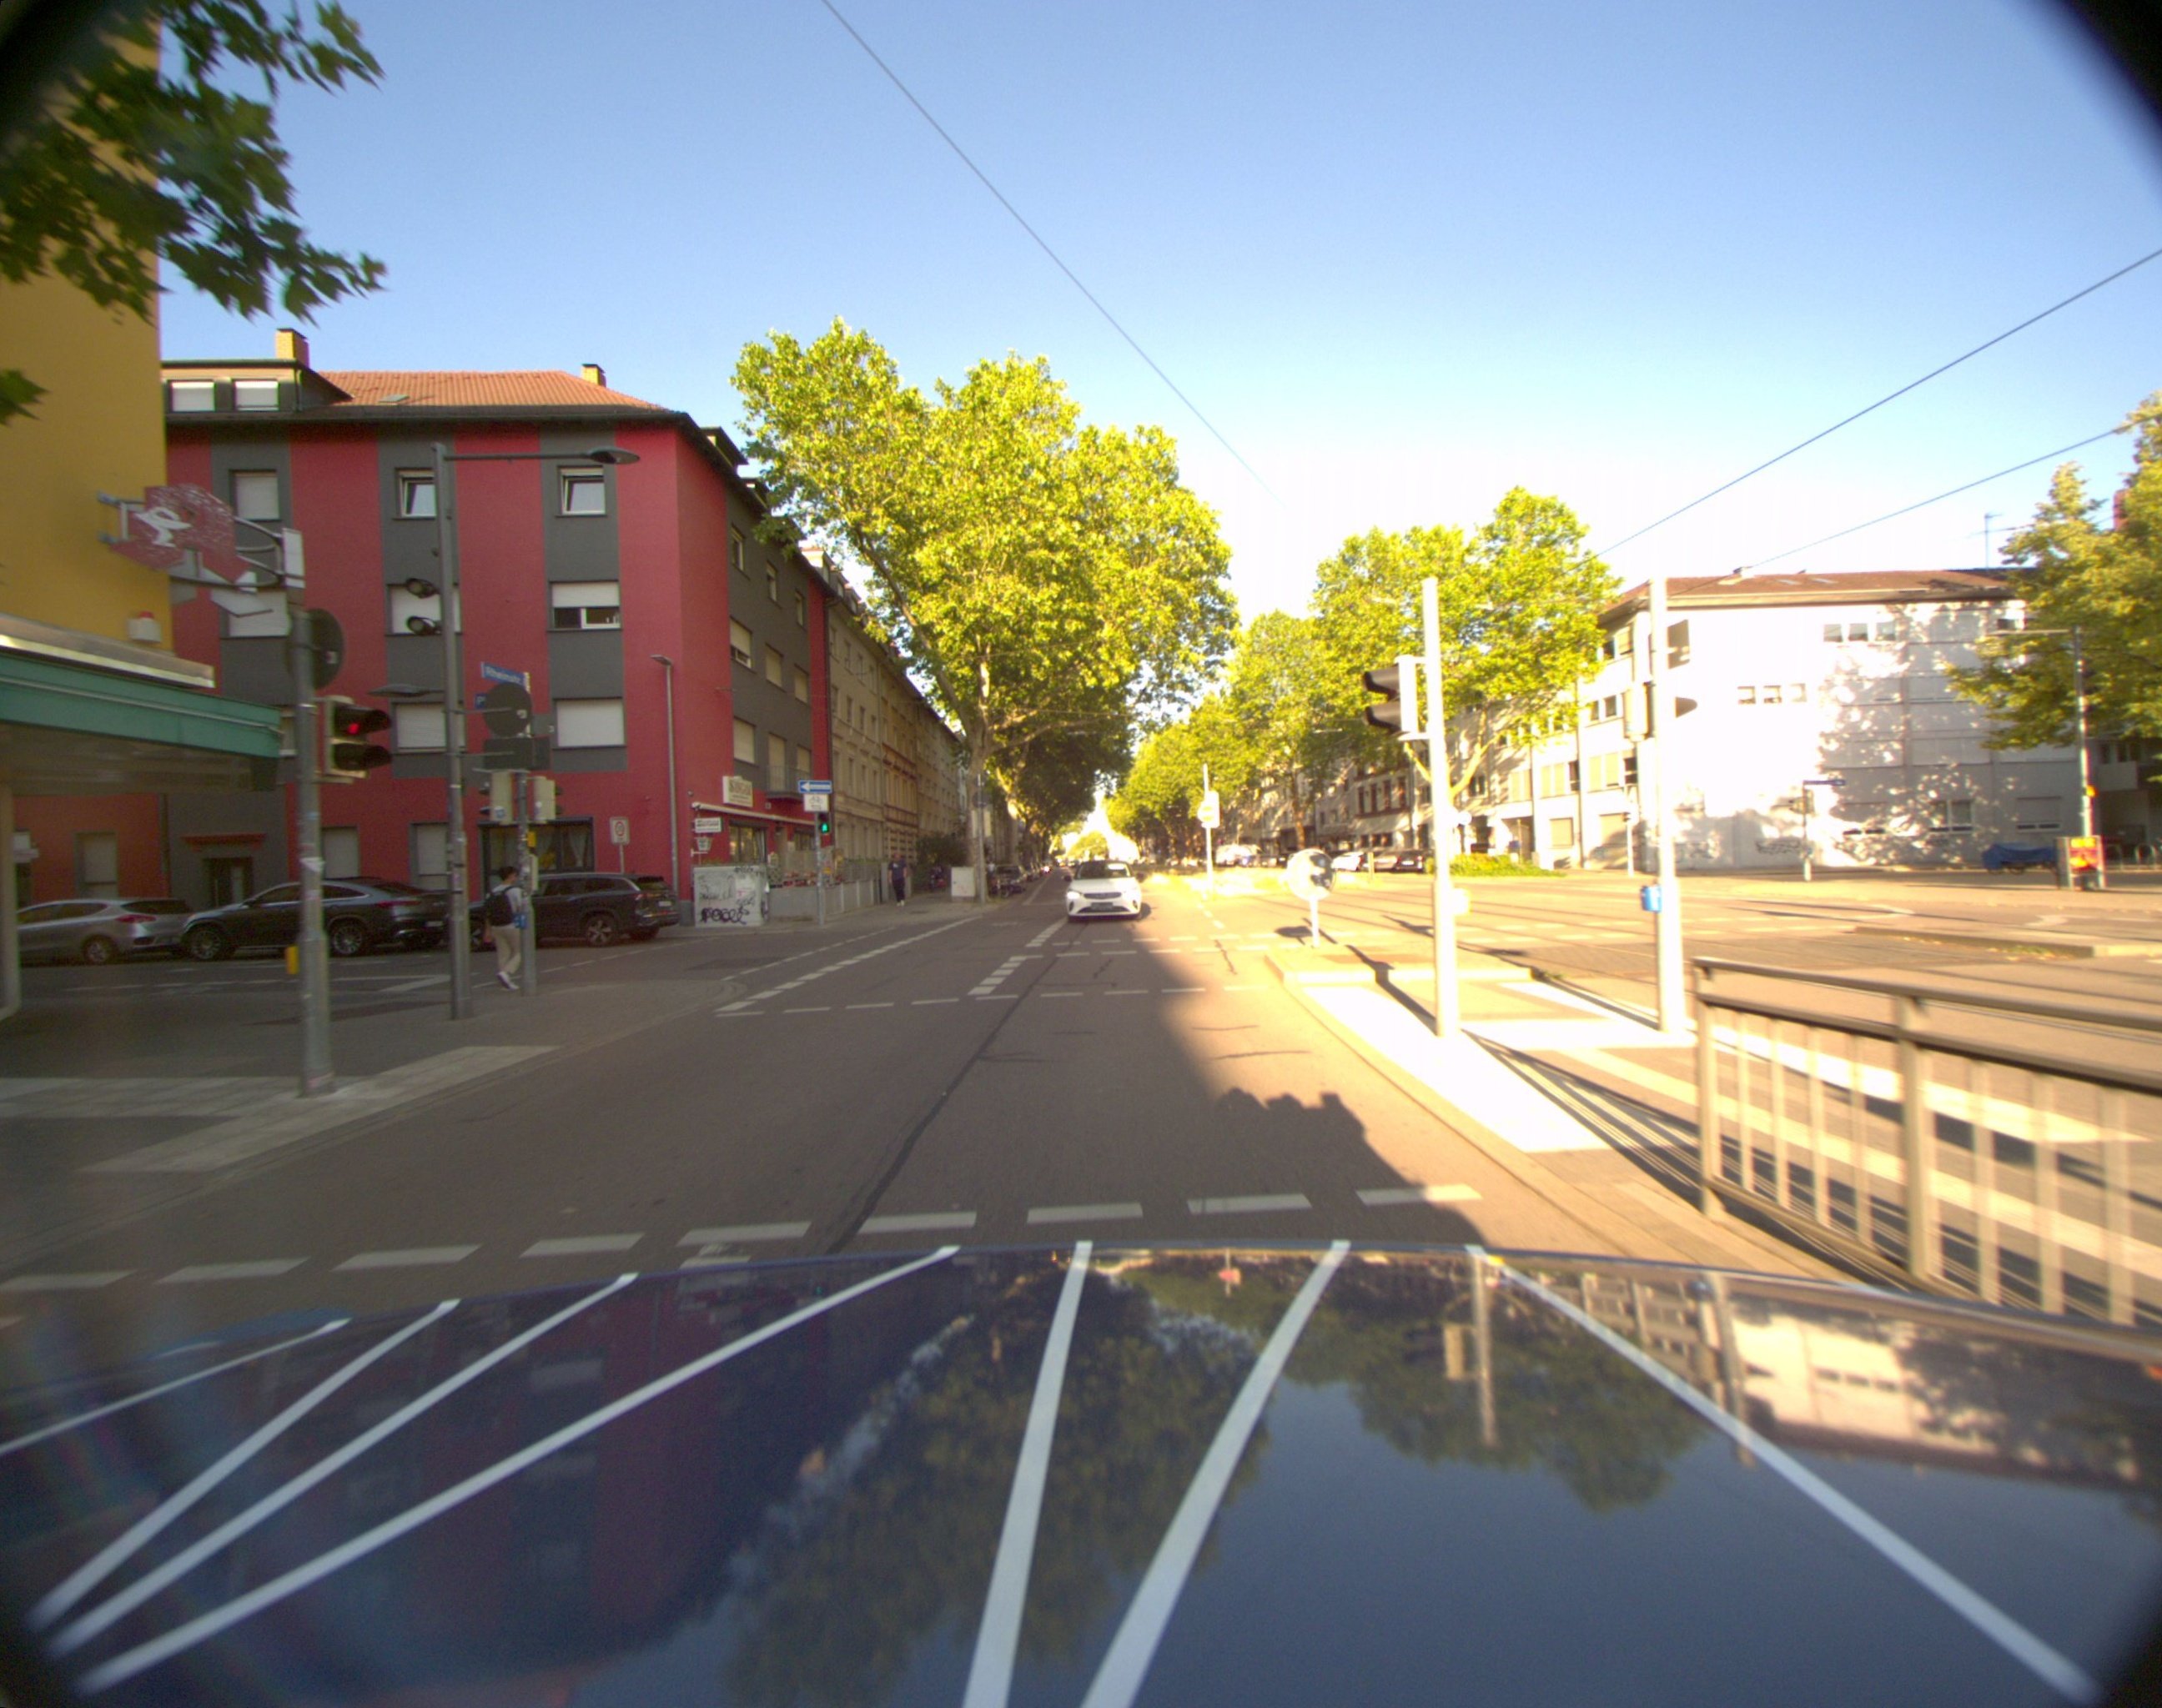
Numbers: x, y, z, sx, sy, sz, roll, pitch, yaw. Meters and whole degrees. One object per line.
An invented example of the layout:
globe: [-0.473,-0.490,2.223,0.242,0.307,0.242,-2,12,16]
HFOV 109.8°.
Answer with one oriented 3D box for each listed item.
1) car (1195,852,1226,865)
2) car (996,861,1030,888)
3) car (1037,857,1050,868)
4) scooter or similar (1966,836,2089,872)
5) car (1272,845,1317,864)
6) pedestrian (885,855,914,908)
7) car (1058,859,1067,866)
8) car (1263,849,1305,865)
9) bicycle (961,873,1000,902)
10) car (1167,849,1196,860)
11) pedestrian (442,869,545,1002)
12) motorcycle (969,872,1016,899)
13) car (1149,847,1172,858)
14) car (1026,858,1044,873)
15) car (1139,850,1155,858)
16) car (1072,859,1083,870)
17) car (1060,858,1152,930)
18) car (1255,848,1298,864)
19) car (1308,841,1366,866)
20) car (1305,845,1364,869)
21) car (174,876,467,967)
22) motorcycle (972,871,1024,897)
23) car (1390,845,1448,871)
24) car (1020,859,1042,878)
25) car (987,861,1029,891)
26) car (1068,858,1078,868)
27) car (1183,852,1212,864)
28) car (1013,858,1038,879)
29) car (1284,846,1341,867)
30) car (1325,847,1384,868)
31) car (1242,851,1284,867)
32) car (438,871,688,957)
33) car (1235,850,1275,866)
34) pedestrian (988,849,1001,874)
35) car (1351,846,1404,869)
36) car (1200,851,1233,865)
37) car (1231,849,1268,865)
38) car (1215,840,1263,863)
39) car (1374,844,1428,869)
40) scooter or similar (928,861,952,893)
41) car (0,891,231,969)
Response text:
car: [18.639,0.625,109.144,4.005,1.805,1.996,-2,0,-28]
car: [-4.030,1.196,45.404,1.803,1.446,4.511,1,0,-3]
car: [-5.388,1.239,109.566,1.803,1.599,4.104,1,0,-2]
scooter or similar: [31.905,-0.017,25.694,1.096,1.119,2.447,-2,0,-1]
car: [19.726,0.040,70.139,4.265,1.605,1.902,-3,1,-41]
pedestrian: [-5.993,0.887,25.111,0.728,1.701,0.816,1,1,-1]
car: [-5.371,2.547,220.466,1.998,1.850,4.001,-4,0,4]
car: [19.709,0.281,73.811,4.265,1.451,1.598,-2,0,-37]
bicycle: [-3.966,1.316,30.127,0.619,1.104,1.804,-1,-2,26]
car: [15.904,0.065,120.164,4.235,1.696,1.999,-2,0,-5]
pedestrian: [-8.250,1.123,10.711,0.745,1.768,0.895,-2,-3,-1]
motorcycle: [-3.690,1.297,31.815,1.895,1.104,0.783,1,-2,-43]
car: [17.362,-0.344,165.983,4.951,2.200,2.096,-2,0,-43]
car: [-4.874,1.228,81.186,1.803,1.493,4.369,1,0,-2]
car: [16.486,0.027,189.824,3.994,1.802,1.874,-2,0,9]
car: [-0.624,1.978,145.750,1.999,2.002,3.999,-4,0,-1]
car: [0.481,0.854,18.016,1.865,1.394,3.931,-3,0,-2]
car: [19.872,0.227,77.092,4.265,1.449,1.903,-2,0,-37]
car: [20.594,-0.034,61.167,4.260,1.932,1.514,-2,0,-16]
car: [19.298,0.193,57.844,4.265,1.674,2.148,-2,0,-36]
car: [-16.817,1.458,16.982,4.614,1.730,1.772,-2,0,-1]
motorcycle: [-3.700,1.334,33.948,2.217,1.104,0.663,1,-1,-28]
car: [20.240,0.203,45.431,3.979,1.423,1.768,-2,0,-44]
car: [-4.466,1.243,67.865,1.803,1.599,4.369,1,0,-2]
car: [-3.713,1.083,39.243,1.803,1.393,4.370,1,0,-1]
car: [-1.635,1.922,163.440,1.999,2.002,3.999,-4,0,0]
car: [18.001,0.682,117.185,4.005,1.696,1.996,-2,0,-28]
car: [-4.378,1.137,60.440,1.803,1.599,4.369,1,0,-2]
car: [19.111,0.223,62.757,4.260,1.548,1.641,-2,0,-16]
car: [19.629,0.261,54.498,4.266,1.369,2.147,-2,0,-41]
car: [19.463,0.528,81.282,4.004,1.509,1.996,-2,0,-21]
car: [-11.601,1.319,17.241,4.352,1.677,1.772,-2,0,-1]
car: [19.305,0.437,84.407,4.005,1.608,1.996,-2,0,-28]
pedestrian: [-5.561,0.479,49.050,0.728,1.571,0.701,-2,1,-1]
car: [20.290,0.234,51.927,3.979,1.495,1.827,-2,0,-44]
car: [18.886,0.607,105.877,4.005,1.805,1.996,-2,0,-28]
car: [20.190,0.351,91.113,4.005,1.805,1.996,-2,0,-28]
car: [19.477,-0.328,93.714,5.619,2.684,2.176,-2,0,-25]
car: [20.551,0.146,48.725,3.979,1.423,1.738,-2,-1,-44]
scooter or similar: [-6.927,1.106,37.350,0.666,1.461,2.544,-2,0,0]
car: [-21.964,1.673,16.968,3.811,1.477,1.772,-2,0,-3]
